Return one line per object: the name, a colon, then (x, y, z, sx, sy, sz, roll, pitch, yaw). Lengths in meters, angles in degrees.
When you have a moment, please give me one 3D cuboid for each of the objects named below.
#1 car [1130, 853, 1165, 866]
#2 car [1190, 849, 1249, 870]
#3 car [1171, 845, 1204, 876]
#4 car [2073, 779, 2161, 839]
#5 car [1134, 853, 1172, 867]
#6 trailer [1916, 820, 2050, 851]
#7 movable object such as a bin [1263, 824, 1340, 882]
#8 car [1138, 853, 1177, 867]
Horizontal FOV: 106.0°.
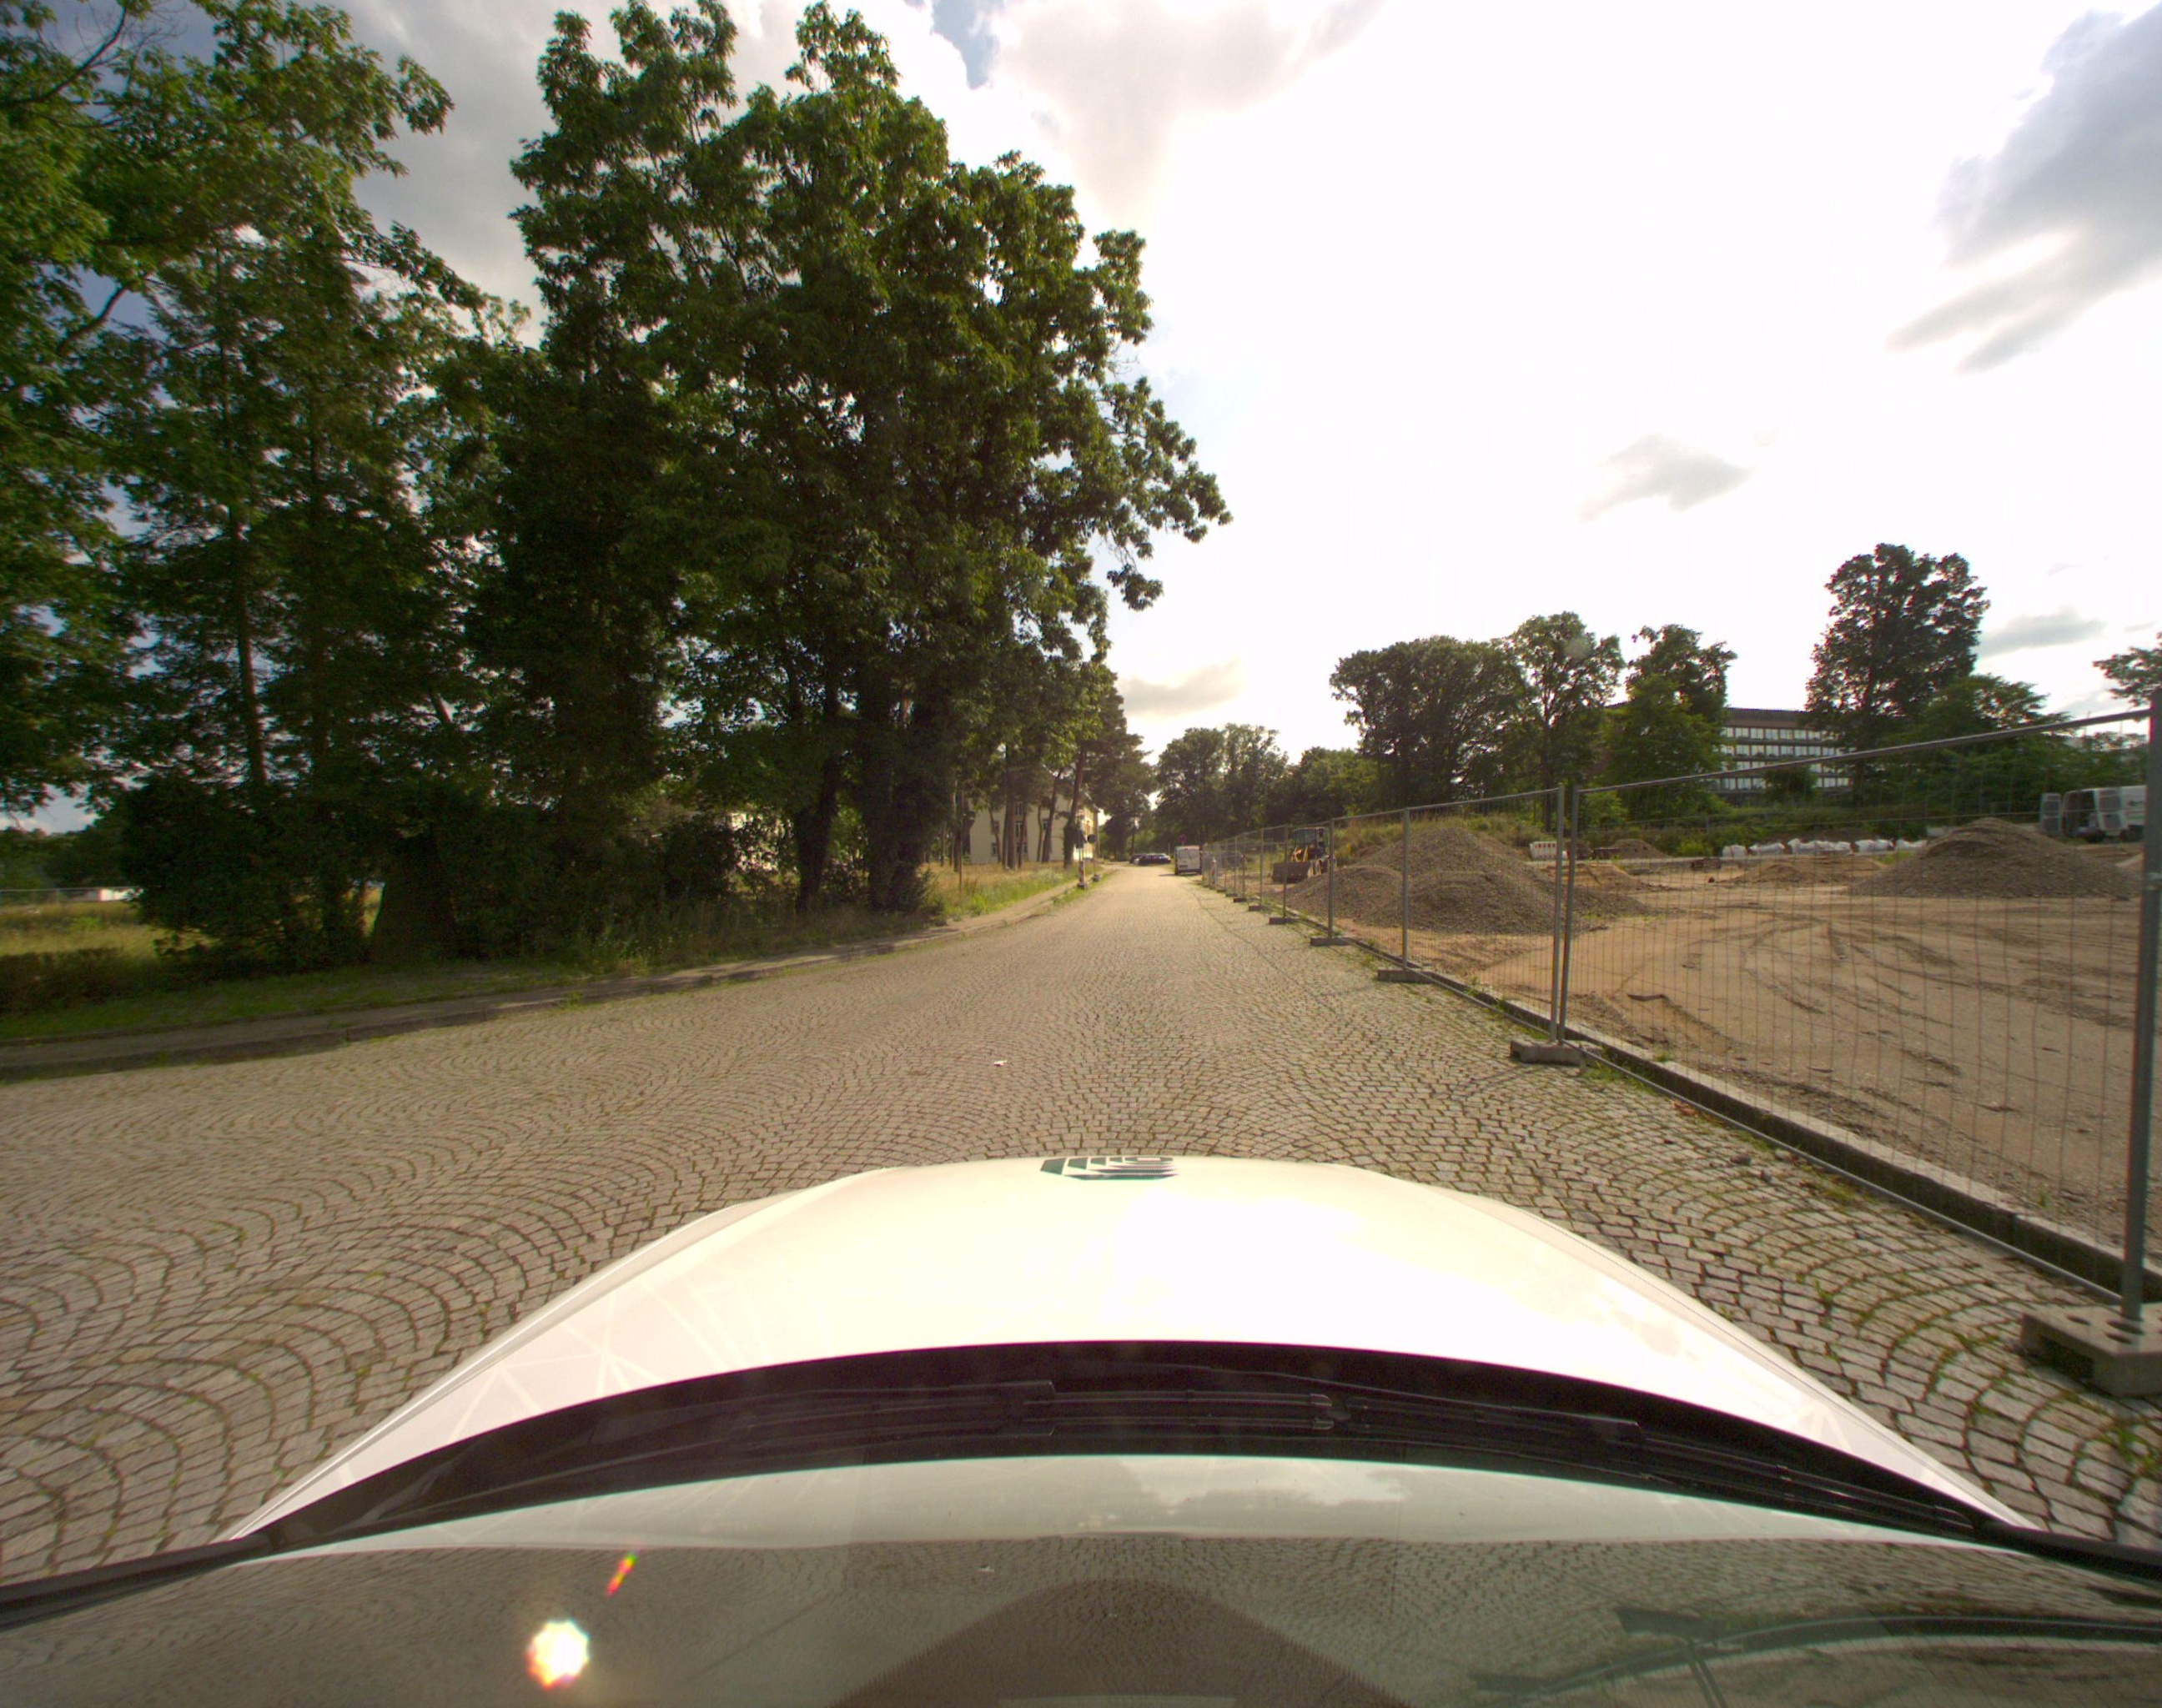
car: (9.366, 0.749, 115.141, 4.767, 1.640, 1.999, -2, 0, -2)
car: (10.802, 0.444, 63.301, 4.373, 1.510, 2.007, -1, 0, 11)
car: (7.517, 0.455, 57.858, 1.985, 2.013, 4.094, -2, 0, 3)
car: (50.394, -2.137, 38.028, 4.765, 2.642, 2.065, -2, 0, 16)
car: (9.536, 0.751, 107.621, 4.767, 1.640, 1.999, -2, 0, -2)
trailer: (44.597, -0.889, 40.387, 3.949, 1.354, 2.101, -2, 0, 29)
movable object such as a bin: (10.754, -0.064, 39.432, 2.108, 2.593, 4.822, -2, 0, 33)
car: (9.766, 0.746, 104.406, 4.767, 1.640, 1.999, -2, 0, -2)
